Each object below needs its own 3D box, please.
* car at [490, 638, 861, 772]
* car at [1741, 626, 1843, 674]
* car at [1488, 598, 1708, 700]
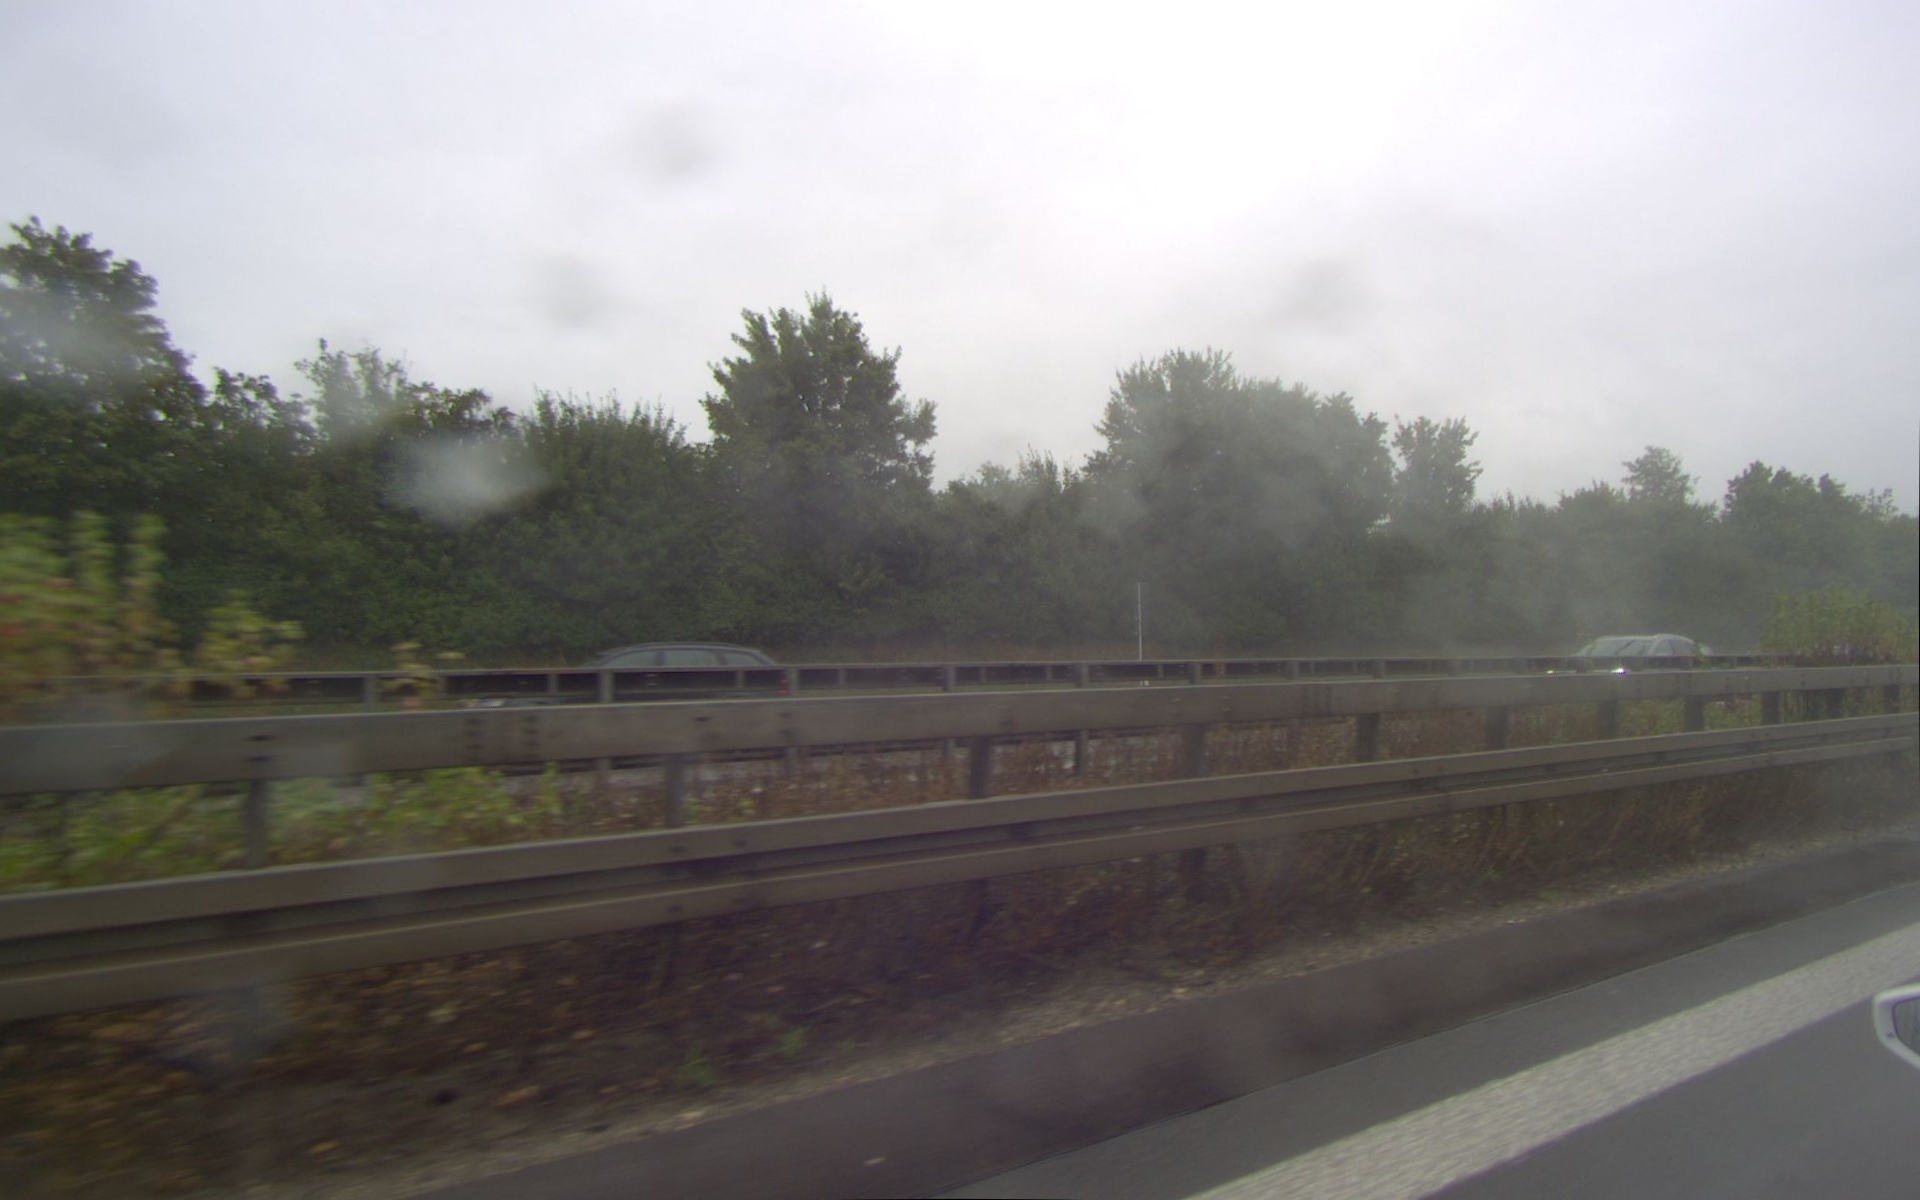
[{"bbox_3d":[-4.094,1.386,14.657,4.847,1.532,2.148,1,0,-31],"label":"car"},{"bbox_3d":[28.519,1.677,34.421,3.700,1.514,1.575,1,0,-31],"label":"car"},{"bbox_3d":[13.308,0.945,20.907,4.574,1.910,2.021,1,0,-31],"label":"car"}]
